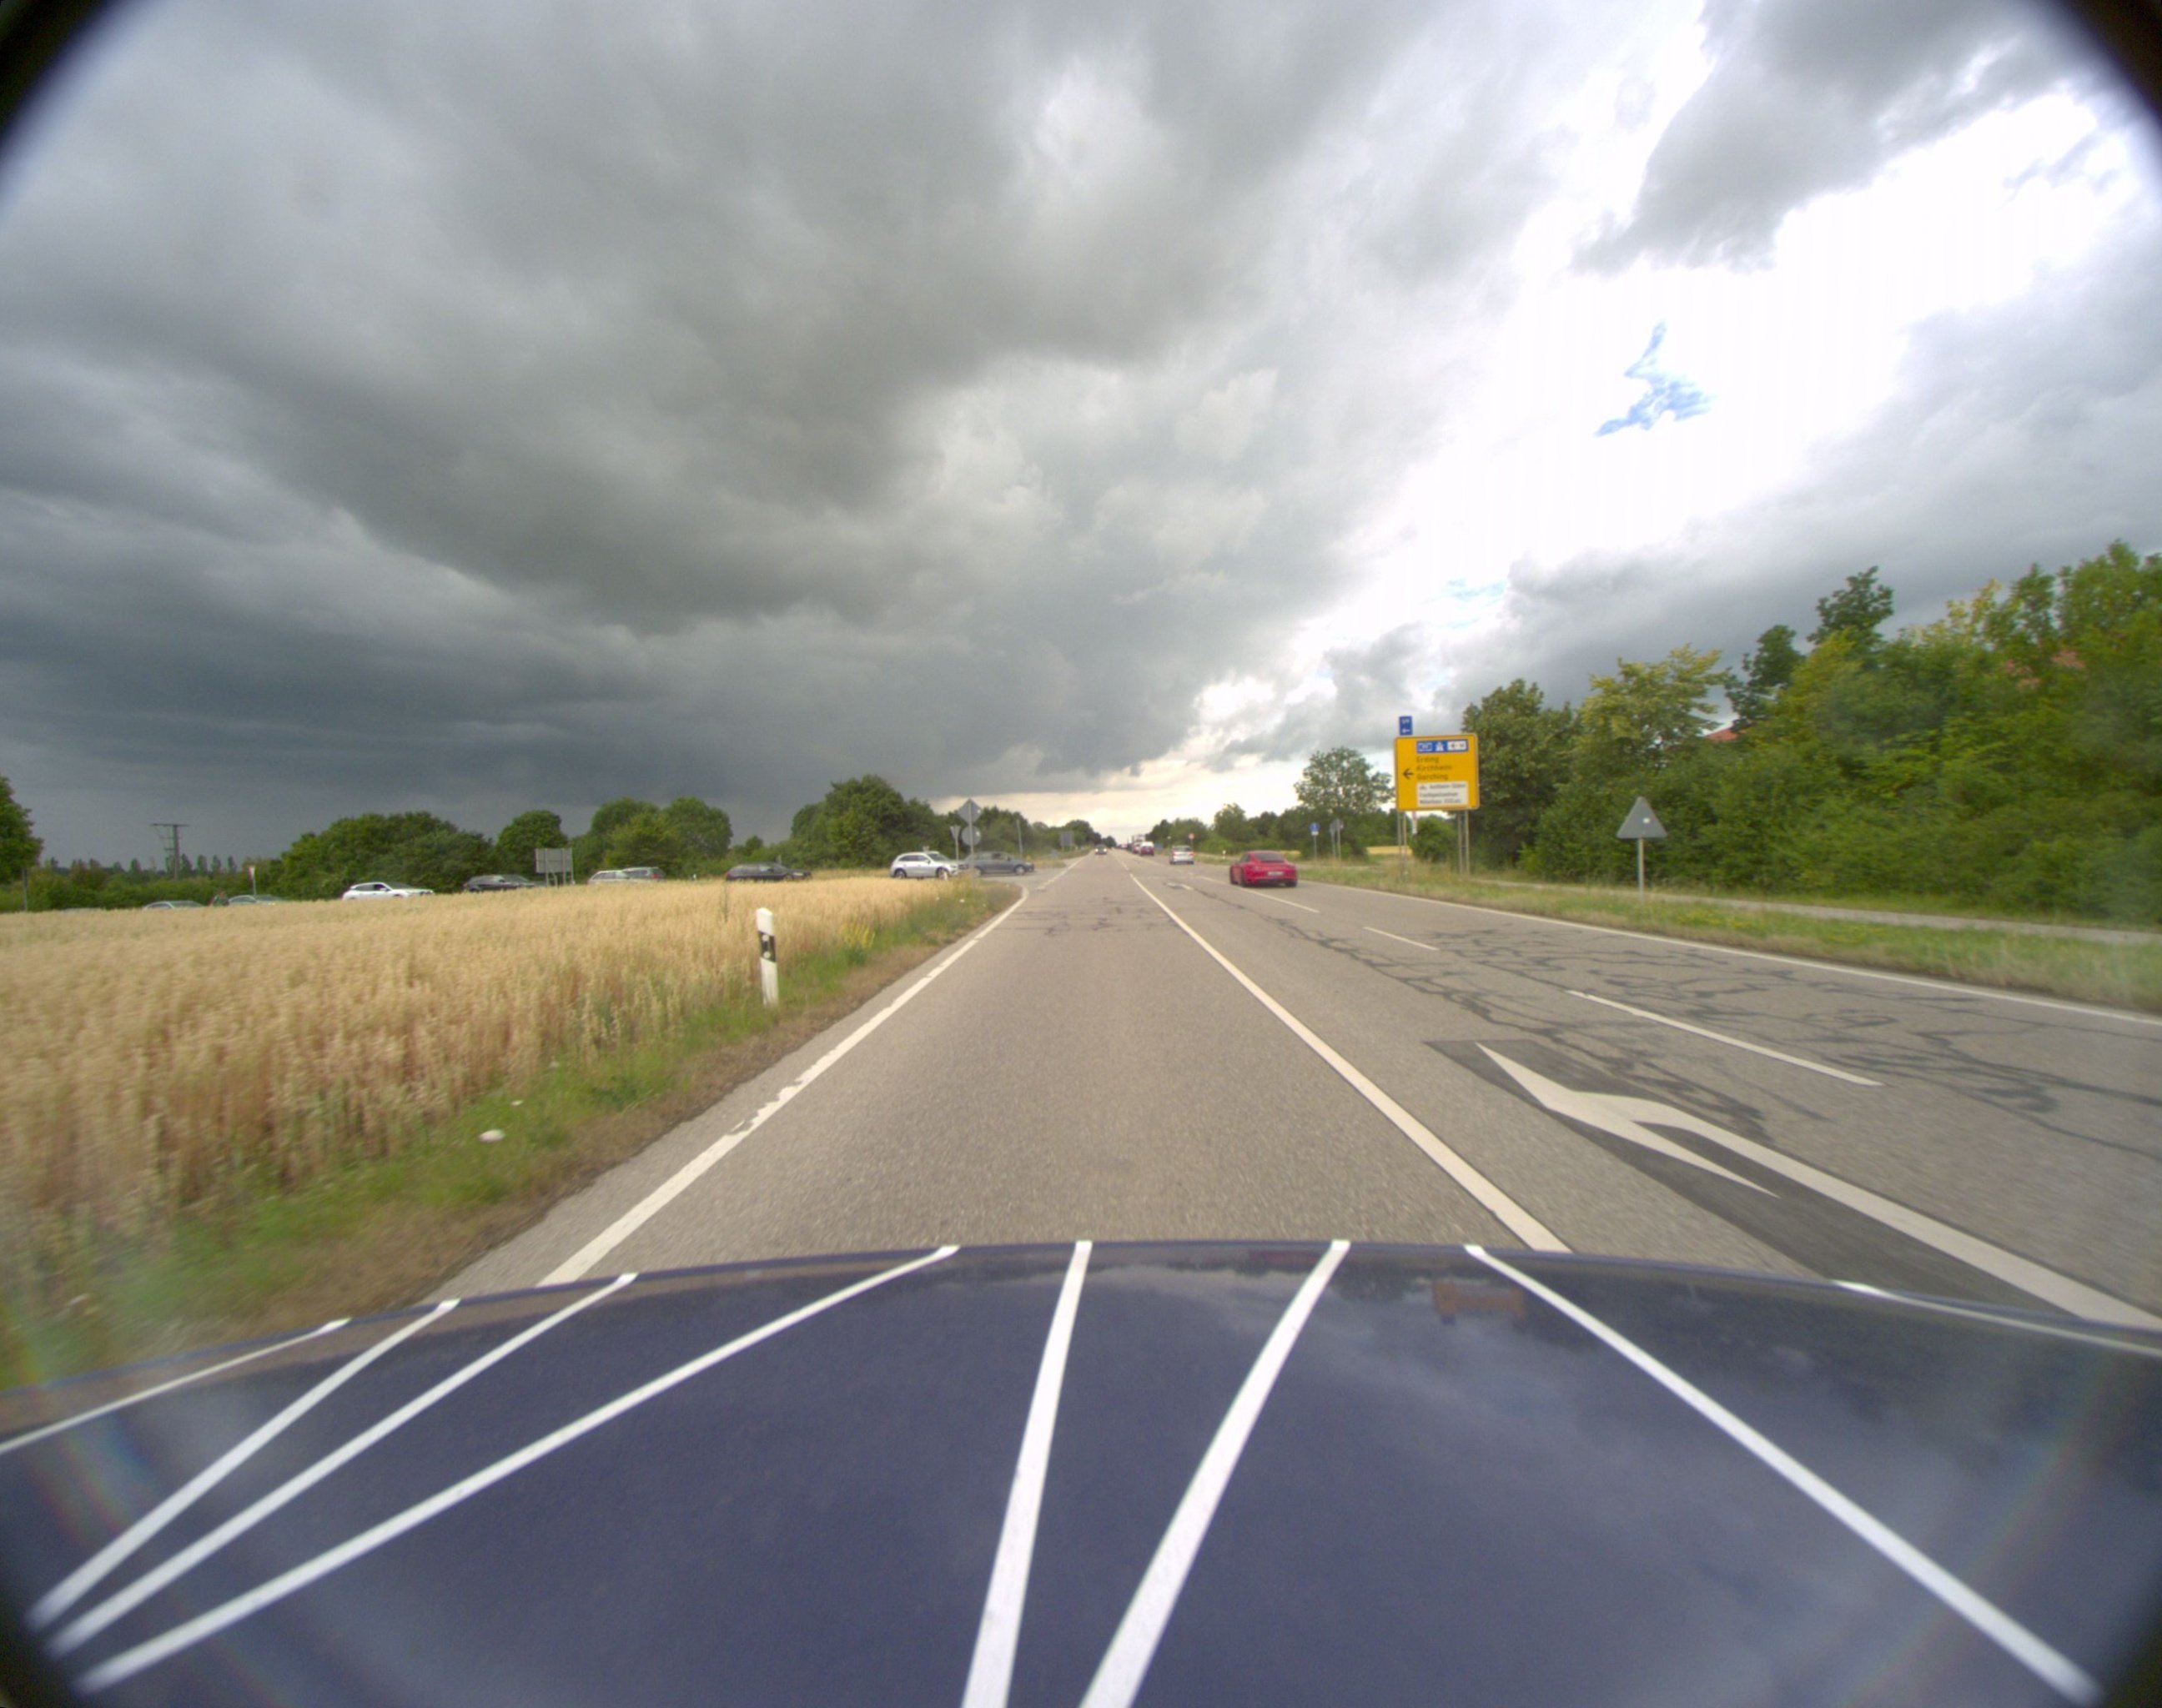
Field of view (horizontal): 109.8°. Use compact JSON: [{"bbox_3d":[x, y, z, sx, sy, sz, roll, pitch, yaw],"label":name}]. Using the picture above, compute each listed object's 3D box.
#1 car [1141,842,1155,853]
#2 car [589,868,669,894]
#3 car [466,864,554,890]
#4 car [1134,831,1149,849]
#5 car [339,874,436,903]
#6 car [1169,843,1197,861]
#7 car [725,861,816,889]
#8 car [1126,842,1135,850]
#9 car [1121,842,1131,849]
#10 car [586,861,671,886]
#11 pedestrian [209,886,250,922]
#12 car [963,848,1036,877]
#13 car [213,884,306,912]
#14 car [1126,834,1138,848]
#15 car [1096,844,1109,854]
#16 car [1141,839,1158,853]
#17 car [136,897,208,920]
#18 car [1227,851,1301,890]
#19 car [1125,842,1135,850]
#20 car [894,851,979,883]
[{"bbox_3d":[9.088,-0.832,102.687,1.676,1.393,4.089,-1,0,2],"label":"car"},{"bbox_3d":[-30.061,1.787,50.614,4.287,1.649,1.754,-1,1,0],"label":"car"},{"bbox_3d":[-35.393,1.422,47.163,4.209,1.346,1.722,-2,3,6],"label":"car"},{"bbox_3d":[10.533,-2.413,133.301,2.339,3.011,6.558,0,0,2],"label":"car"},{"bbox_3d":[-43.399,2.137,47.612,4.633,1.486,1.722,-2,3,6],"label":"car"},{"bbox_3d":[8.163,-0.190,61.173,1.734,1.423,3.934,-1,1,1],"label":"car"},{"bbox_3d":[-18.420,1.236,45.182,4.688,1.346,1.722,-2,3,8],"label":"car"},{"bbox_3d":[10.747,-1.761,164.985,1.856,1.739,4.000,-2,0,1],"label":"car"},{"bbox_3d":[11.742,-2.227,199.405,2.339,1.911,4.876,-2,0,2],"label":"car"},{"bbox_3d":[-27.759,1.210,46.697,4.209,1.345,1.723,-2,1,6],"label":"car"},{"bbox_3d":[-39.310,2.294,35.087,0.945,1.602,0.773,-2,1,-12],"label":"pedestrian"},{"bbox_3d":[-4.721,0.463,44.388,4.115,1.439,1.717,-2,2,-5],"label":"car"},{"bbox_3d":[-52.249,2.771,48.353,4.209,1.486,1.722,-2,3,6],"label":"car"},{"bbox_3d":[11.889,-2.991,178.433,2.339,3.011,6.558,-2,0,1],"label":"car"},{"bbox_3d":[3.395,-0.775,119.149,1.998,1.474,4.000,-2,1,2],"label":"car"},{"bbox_3d":[10.146,-1.190,113.172,2.111,1.875,5.390,-1,0,1],"label":"car"},{"bbox_3d":[-60.157,3.596,50.295,3.493,1.339,1.575,-1,1,13],"label":"car"},{"bbox_3d":[6.562,0.546,27.680,1.775,1.234,4.211,-1,1,2],"label":"car"},{"bbox_3d":[9.800,-1.684,152.824,1.847,1.516,4.000,-2,0,2],"label":"car"},{"bbox_3d":[-7.998,0.700,42.038,4.382,1.578,2.000,-1,3,33],"label":"car"}]
